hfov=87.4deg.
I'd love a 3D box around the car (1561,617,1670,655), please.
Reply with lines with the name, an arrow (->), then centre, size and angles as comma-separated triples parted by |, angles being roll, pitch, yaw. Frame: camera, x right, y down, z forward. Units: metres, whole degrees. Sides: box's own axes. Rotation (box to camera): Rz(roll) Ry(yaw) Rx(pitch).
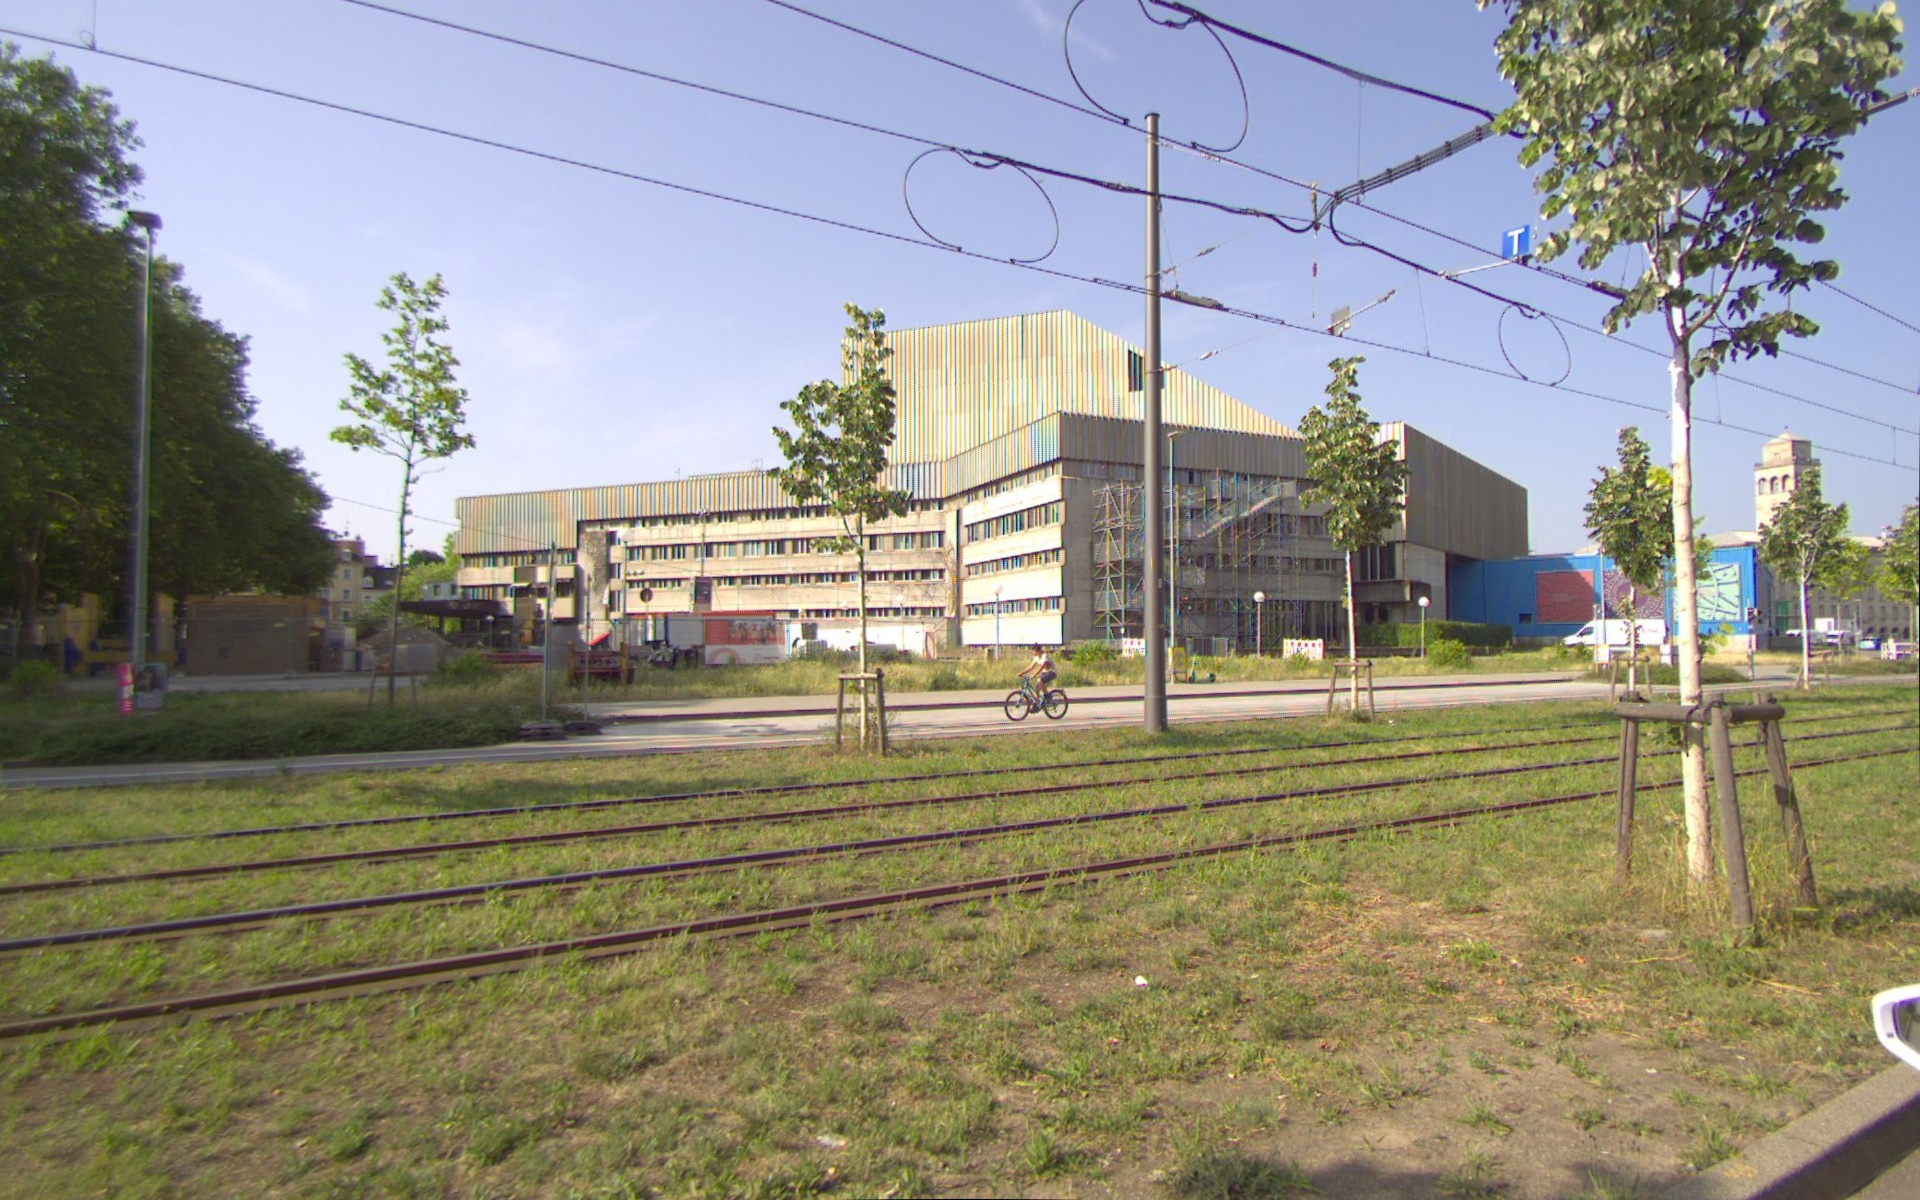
car -> 50.148, 2.723, 76.953 | 6.792, 2.673, 2.503 | 1, -1, 40

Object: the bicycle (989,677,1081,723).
bicycle -> 1.676, 2.207, 22.329 | 2.054, 0.973, 0.659 | 2, -4, -31

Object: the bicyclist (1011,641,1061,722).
bicyclist -> 1.692, 1.811, 22.353 | 0.908, 1.758, 0.644 | 2, -4, -30
